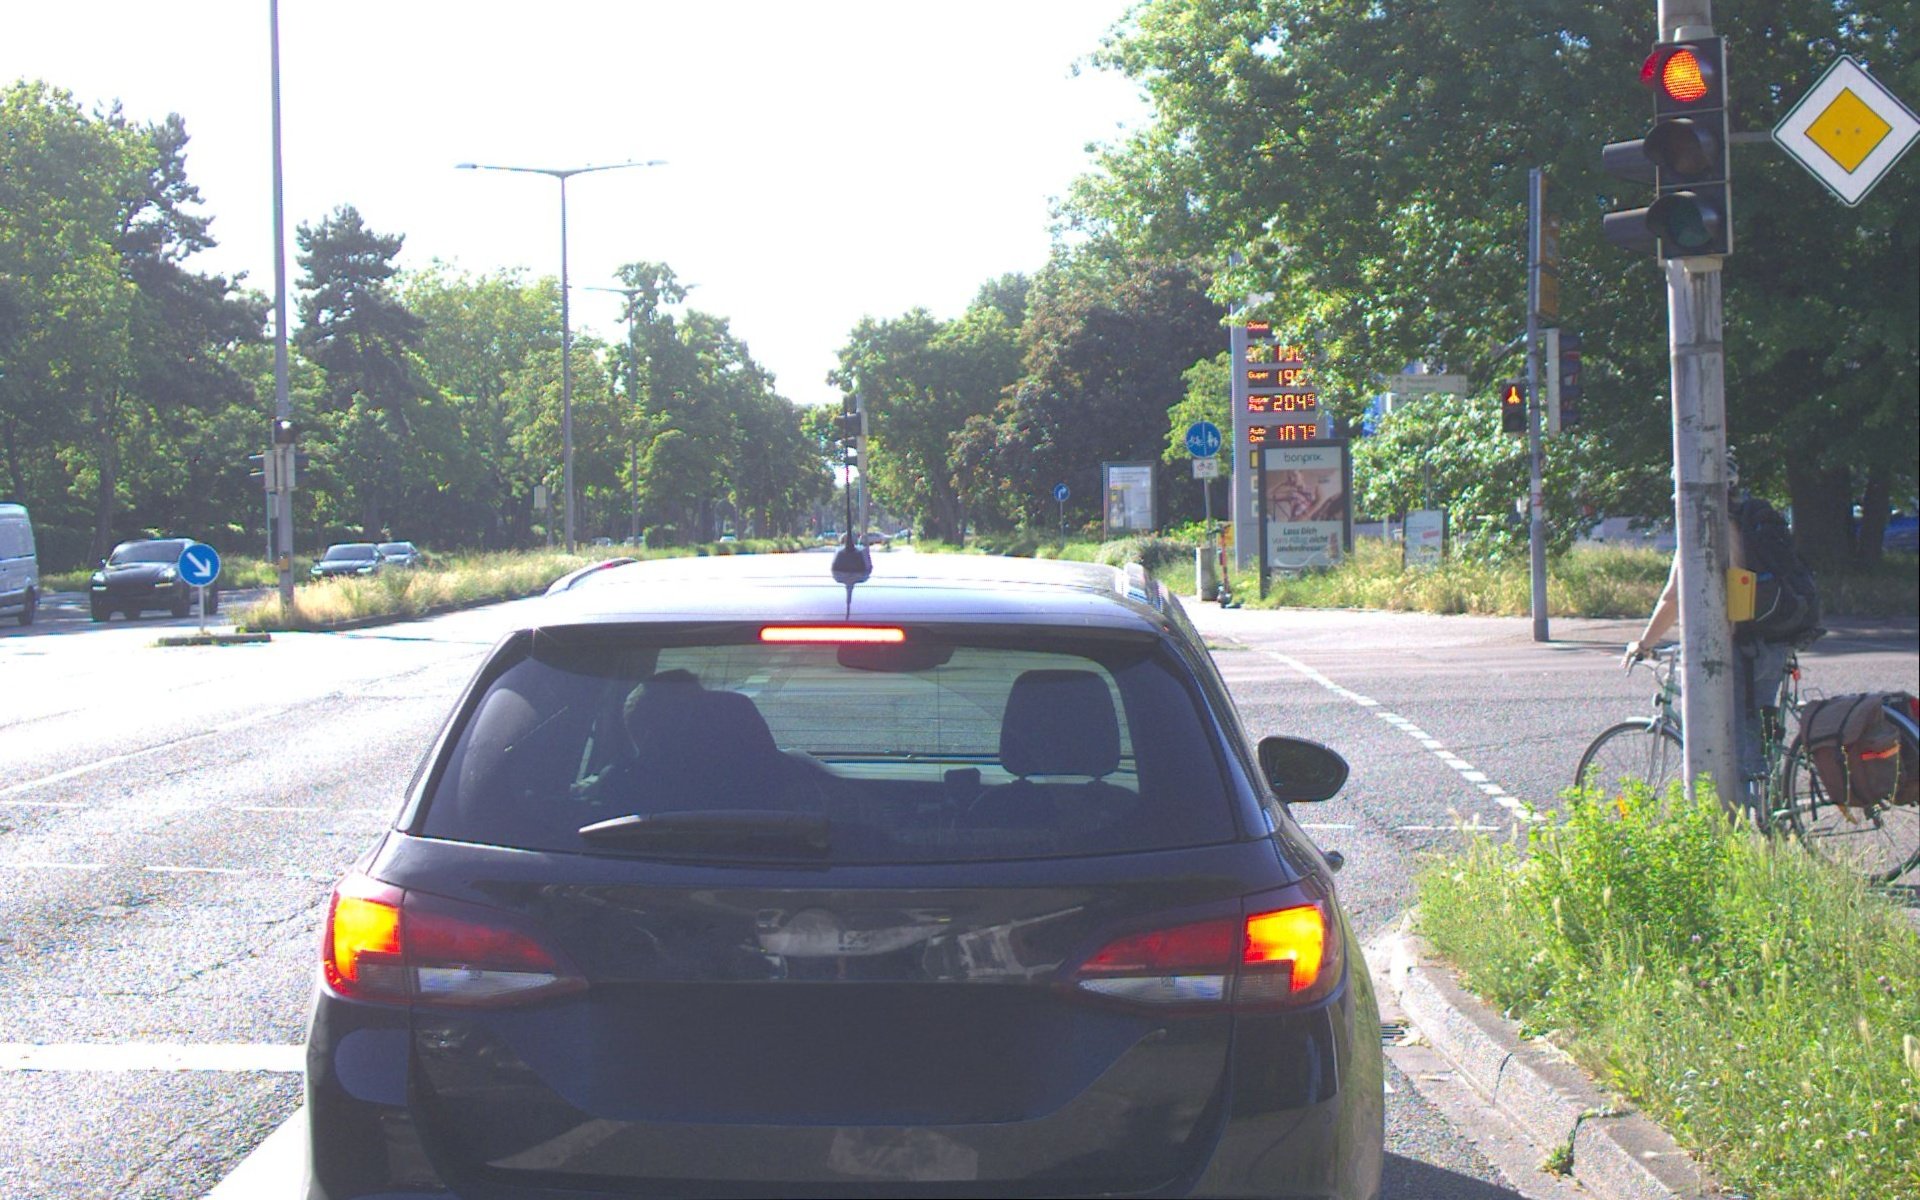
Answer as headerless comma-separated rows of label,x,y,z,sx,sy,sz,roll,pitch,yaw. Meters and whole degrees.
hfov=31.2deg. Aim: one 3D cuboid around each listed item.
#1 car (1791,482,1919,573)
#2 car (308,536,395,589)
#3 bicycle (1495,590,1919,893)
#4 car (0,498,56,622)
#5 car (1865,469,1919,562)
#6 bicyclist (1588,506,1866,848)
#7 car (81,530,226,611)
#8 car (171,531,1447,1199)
car,16.619,-1.290,59.805,3.887,1.512,1.746,-2,1,-23
car,-17.599,-1.102,99.546,1.776,1.458,4.165,-1,1,-1
bicycle,2.979,0.543,13.337,0.536,1.094,1.775,-3,0,-44
car,-20.168,-0.798,69.690,2.100,2.484,6.004,-2,1,-1
car,17.095,-1.431,56.719,3.887,1.512,1.746,-2,1,-23
bicyclist,2.971,0.297,13.335,0.536,1.272,0.829,-3,0,-44
car,-17.053,-0.649,72.875,1.993,1.596,4.616,-1,1,-1
car,-0.233,0.628,6.851,1.756,1.490,4.207,0,1,-1
